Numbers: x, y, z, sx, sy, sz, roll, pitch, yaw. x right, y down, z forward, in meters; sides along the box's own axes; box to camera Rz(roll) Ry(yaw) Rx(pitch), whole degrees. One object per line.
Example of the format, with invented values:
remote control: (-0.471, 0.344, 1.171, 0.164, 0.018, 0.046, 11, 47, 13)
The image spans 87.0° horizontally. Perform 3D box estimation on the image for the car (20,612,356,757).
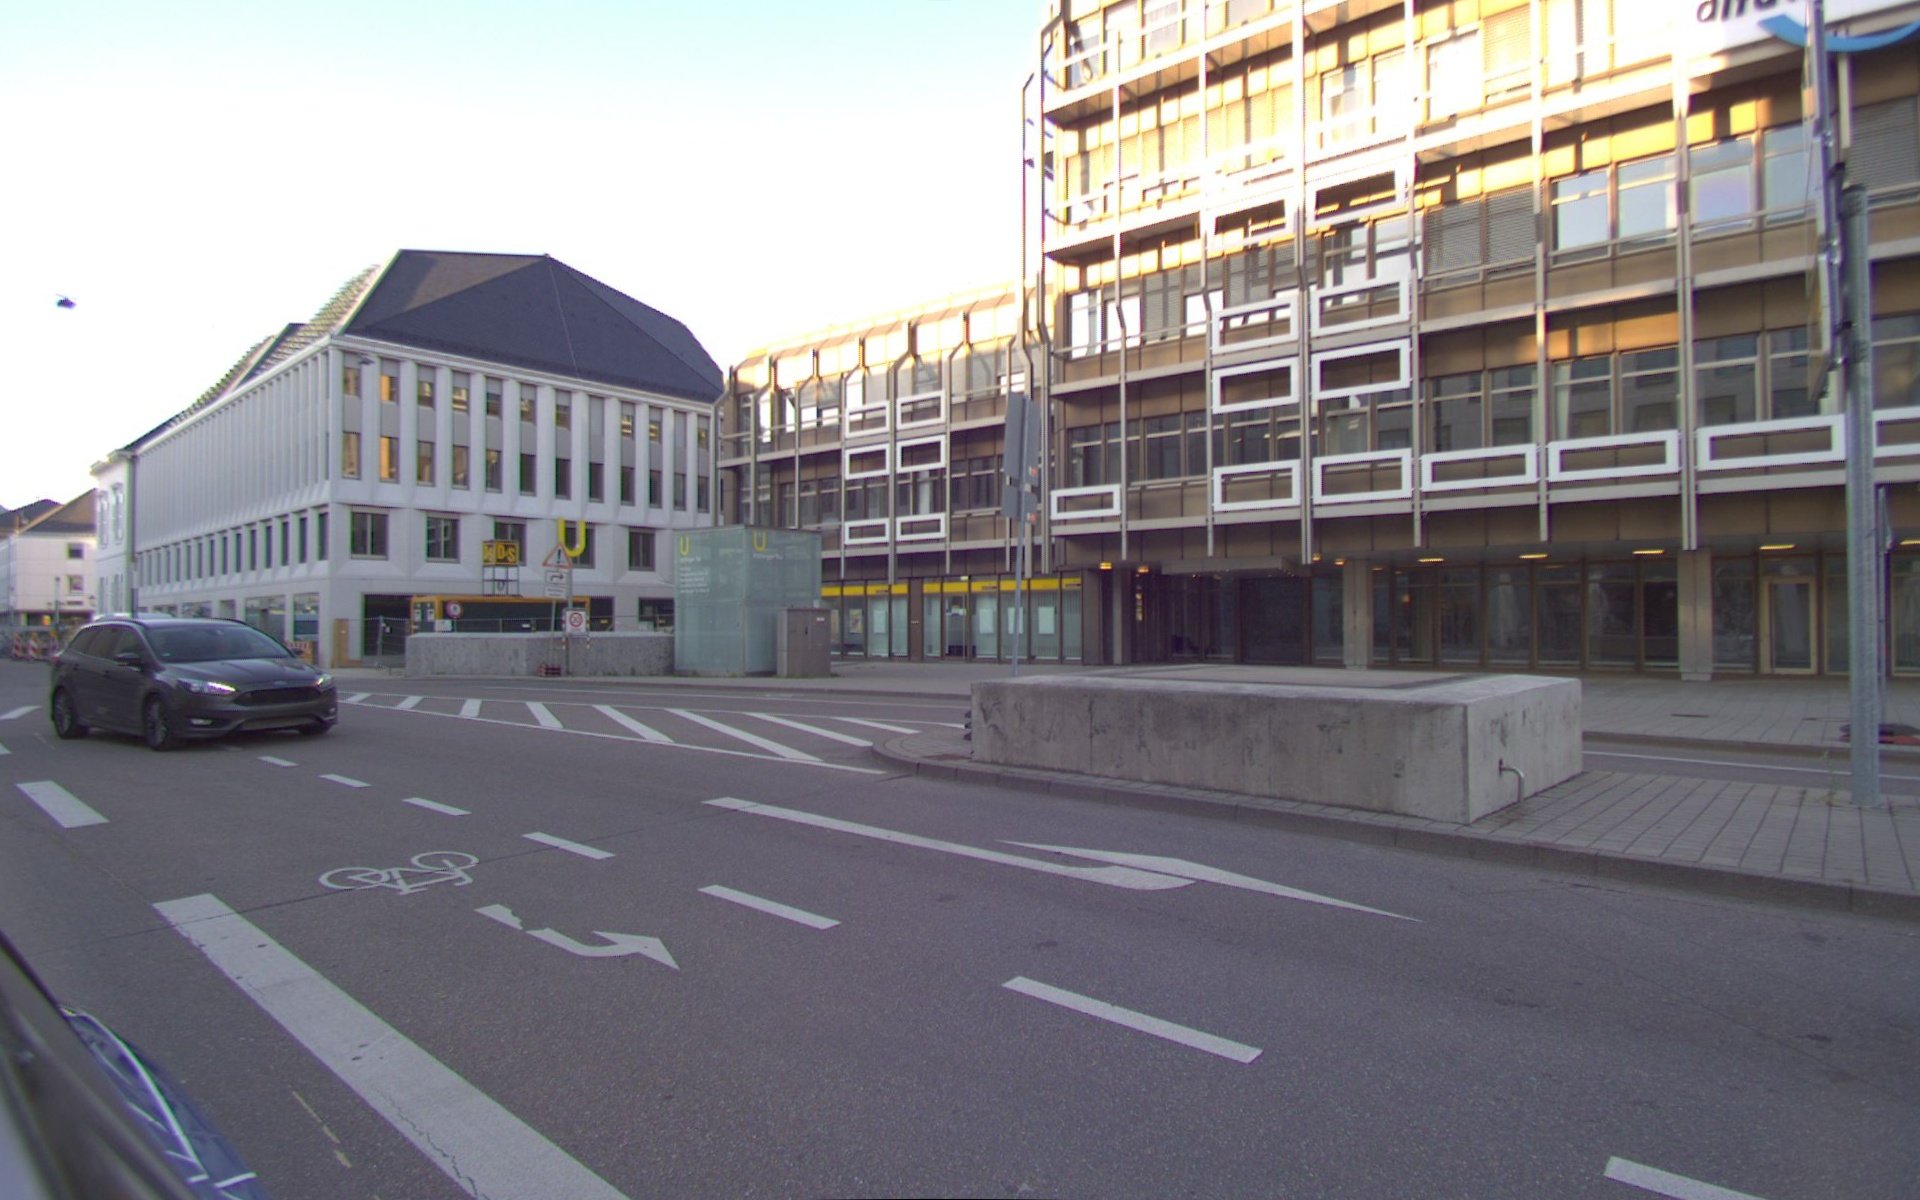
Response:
car: (-9.496, 0.947, 12.374, 4.363, 1.473, 1.745, -2, -1, 30)

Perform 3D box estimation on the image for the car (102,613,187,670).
car: (-38.840, 1.958, 48.161, 6.047, 2.575, 2.114, -2, -3, 41)

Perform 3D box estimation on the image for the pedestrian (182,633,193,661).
pedestrian: (-37.588, 2.294, 49.243, 0.338, 1.326, 0.346, -2, -3, 41)

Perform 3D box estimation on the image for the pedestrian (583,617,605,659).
pedestrian: (-13.190, 1.378, 36.466, 0.555, 1.508, 0.525, -2, -3, 41)
